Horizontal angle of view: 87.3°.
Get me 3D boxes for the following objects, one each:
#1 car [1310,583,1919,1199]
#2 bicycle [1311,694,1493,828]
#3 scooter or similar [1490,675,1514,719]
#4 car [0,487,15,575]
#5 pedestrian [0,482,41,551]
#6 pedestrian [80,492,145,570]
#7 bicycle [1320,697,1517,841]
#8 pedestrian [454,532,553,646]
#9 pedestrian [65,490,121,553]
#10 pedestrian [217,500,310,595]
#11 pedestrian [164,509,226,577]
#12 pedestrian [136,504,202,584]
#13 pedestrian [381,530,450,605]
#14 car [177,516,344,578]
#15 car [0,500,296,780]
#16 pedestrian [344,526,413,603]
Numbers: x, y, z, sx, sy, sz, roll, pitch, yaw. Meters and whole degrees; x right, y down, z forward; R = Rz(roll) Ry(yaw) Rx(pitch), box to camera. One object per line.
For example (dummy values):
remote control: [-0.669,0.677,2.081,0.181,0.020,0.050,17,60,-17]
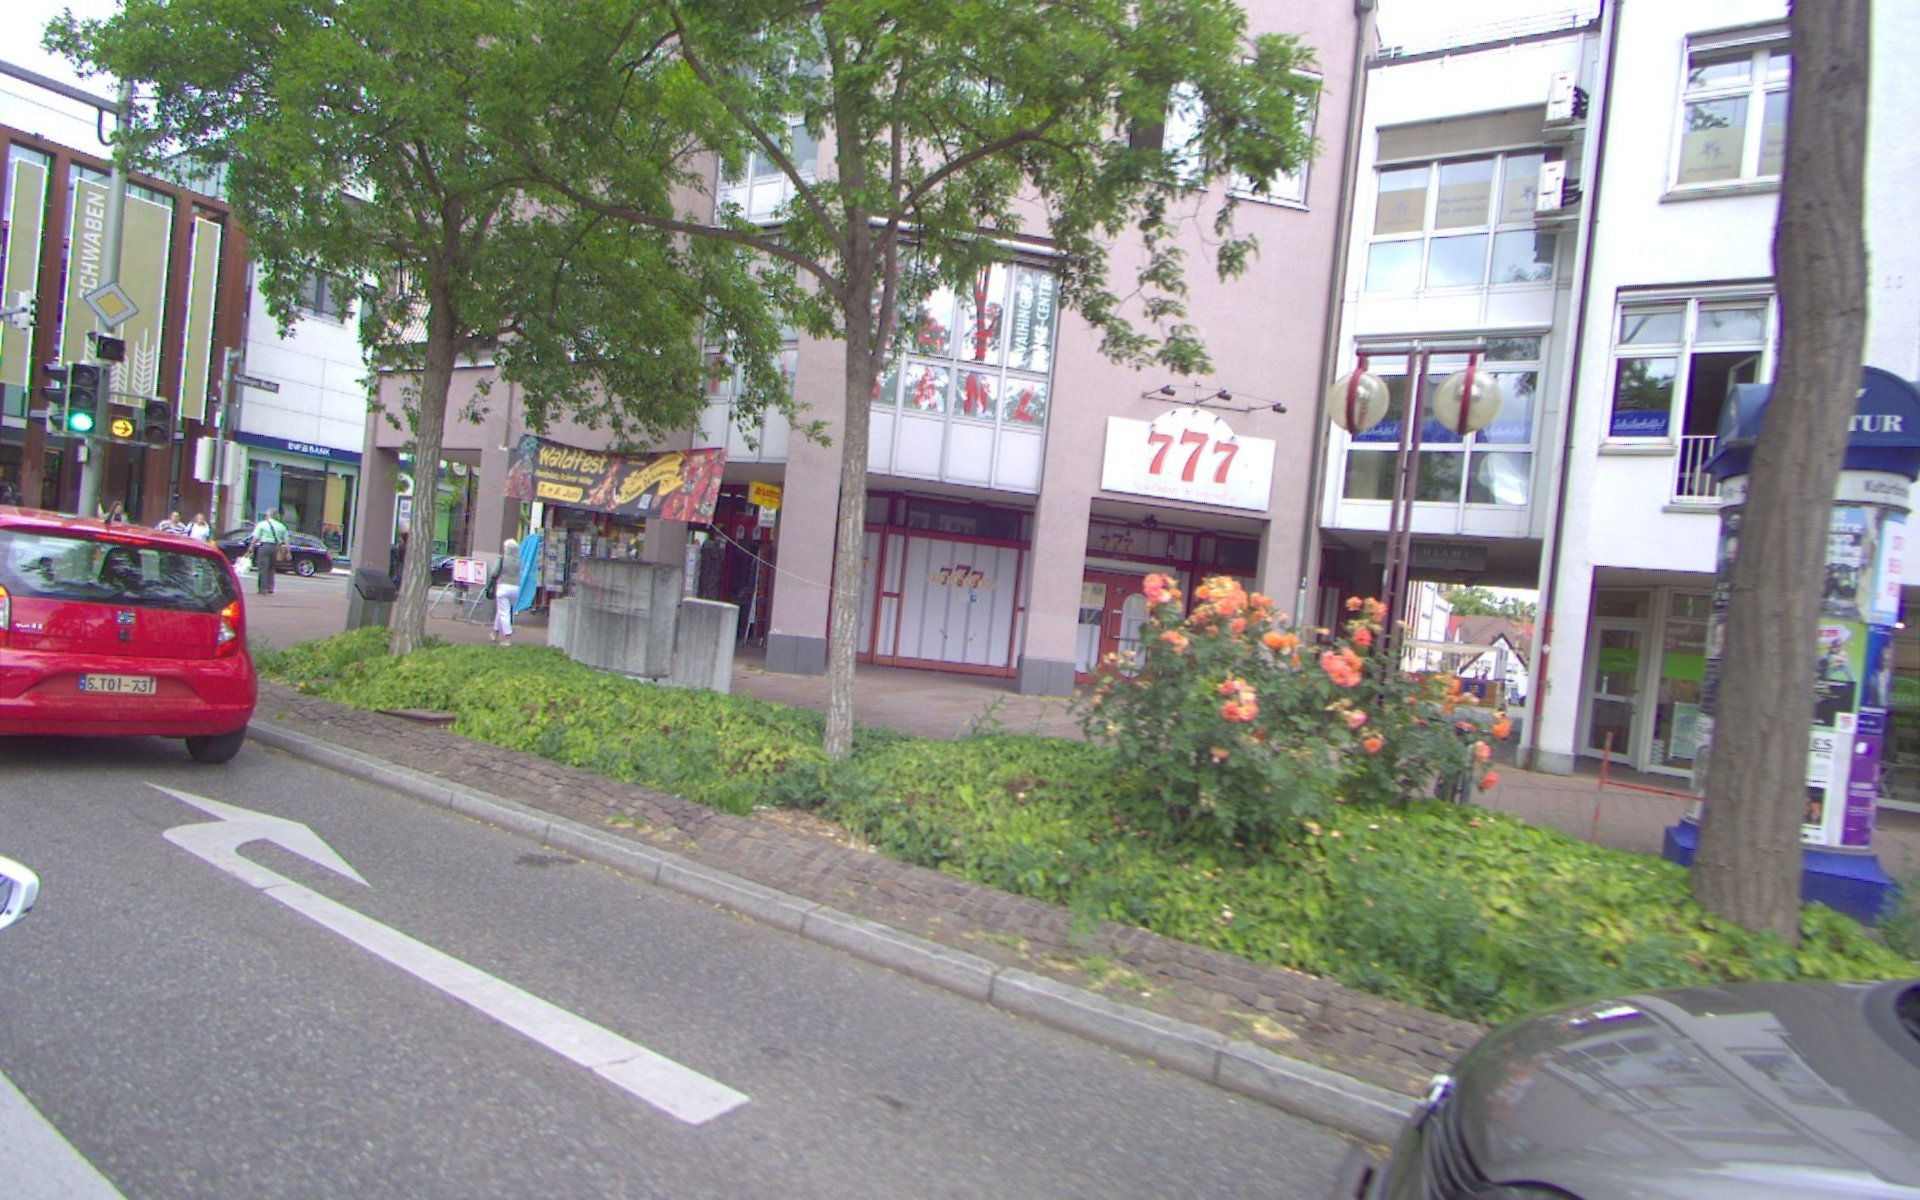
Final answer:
car: [2.623,1.040,1.200,3.932,1.548,1.801,7,-1,30]
bicycle: [4.069,1.488,9.257,1.545,1.062,0.405,7,1,-17]
scooter or similar: [16.118,2.870,29.923,0.489,1.208,1.503,7,0,29]
car: [-17.642,-1.277,17.142,1.845,1.628,4.806,9,-1,-40]
pedestrian: [-26.712,-2.370,28.291,1.101,1.789,0.880,7,1,29]
pedestrian: [-19.502,-1.586,23.150,0.937,1.647,0.742,7,2,28]
bicycle: [3.914,1.444,8.586,1.545,1.062,0.405,7,1,-17]
pedestrian: [-7.191,-0.162,15.849,1.075,1.647,0.809,7,2,29]
pedestrian: [-26.869,-2.430,31.188,1.101,1.789,0.880,7,1,29]
pedestrian: [-14.074,-1.054,20.326,1.091,1.737,1.057,7,1,31]
pedestrian: [-20.066,-1.501,26.393,1.021,1.615,0.823,7,1,28]
pedestrian: [-17.674,-1.238,22.477,0.937,1.647,0.742,7,2,28]
pedestrian: [-12.680,-0.753,23.425,1.040,1.604,0.831,7,1,27]
car: [-23.381,-1.743,33.802,1.770,1.421,4.181,7,-1,29]
car: [-6.271,0.095,6.691,3.582,1.465,1.629,7,-2,32]
pedestrian: [-13.068,-0.803,22.631,0.952,1.578,0.831,7,1,28]
